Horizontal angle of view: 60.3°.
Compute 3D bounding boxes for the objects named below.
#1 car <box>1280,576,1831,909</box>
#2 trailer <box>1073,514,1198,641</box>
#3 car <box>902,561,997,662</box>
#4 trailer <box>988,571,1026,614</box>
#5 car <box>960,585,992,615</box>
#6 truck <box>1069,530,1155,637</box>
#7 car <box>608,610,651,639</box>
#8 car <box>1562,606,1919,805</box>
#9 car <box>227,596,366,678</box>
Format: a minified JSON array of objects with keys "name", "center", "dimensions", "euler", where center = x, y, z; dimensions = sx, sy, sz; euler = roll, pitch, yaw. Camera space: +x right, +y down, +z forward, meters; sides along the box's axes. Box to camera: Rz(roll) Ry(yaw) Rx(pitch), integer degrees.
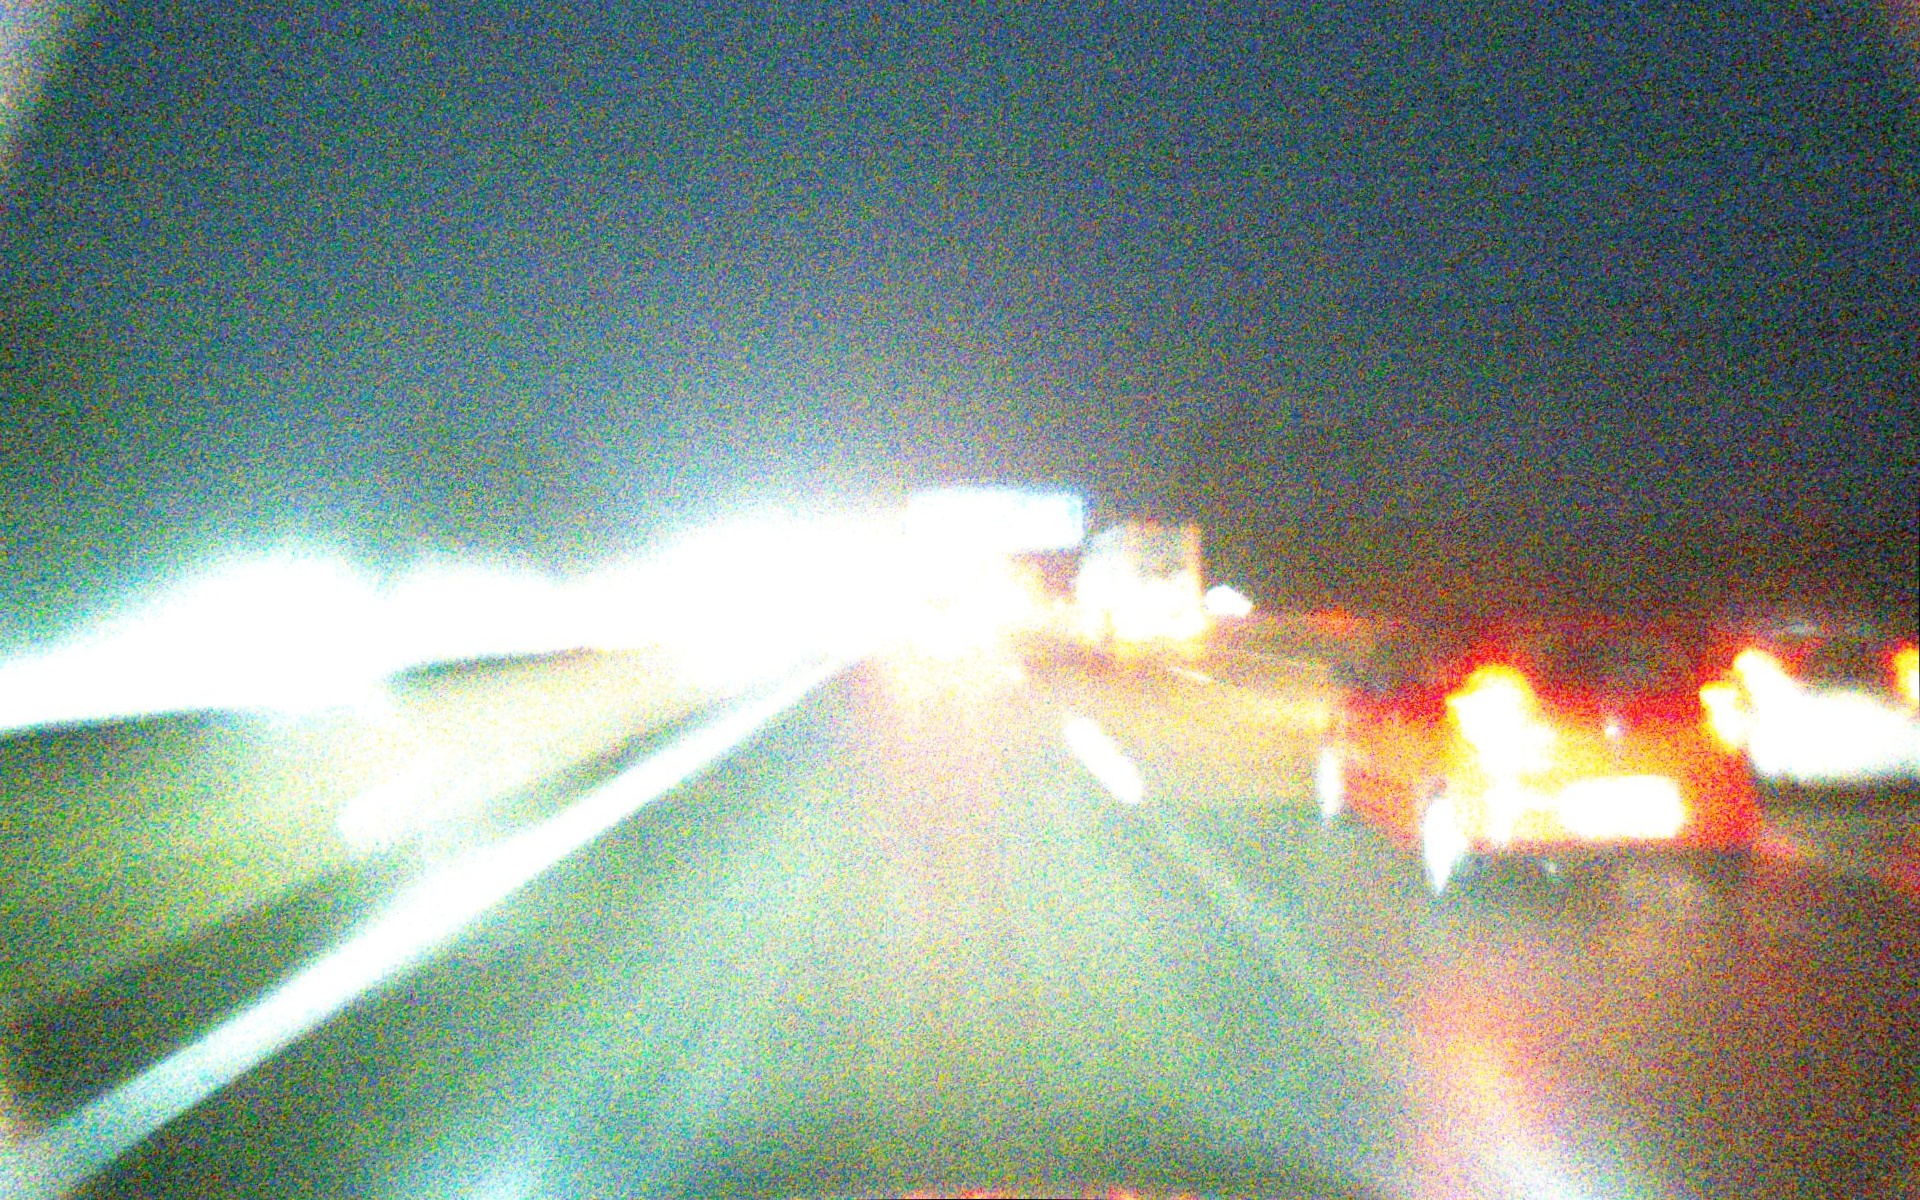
[{"name":"car","center":[3.312,0.720,10.228],"dimensions":[1.705,1.603,4.492],"euler":[0,-1,-1]},{"name":"trailer","center":[6.337,-0.690,62.299],"dimensions":[2.844,4.180,14.483],"euler":[-1,0,-1]},{"name":"car","center":[-0.252,0.258,36.469],"dimensions":[1.953,2.049,3.999],"euler":[1,-1,-1]},{"name":"trailer","center":[4.852,-0.696,173.794],"dimensions":[2.980,4.181,13.820],"euler":[-2,-1,-2]},{"name":"car","center":[1.133,-0.013,120.665],"dimensions":[1.954,2.049,3.996],"euler":[-2,-1,-4]},{"name":"truck","center":[6.231,-0.621,68.567],"dimensions":[2.844,4.180,6.029],"euler":[-1,-1,-1]},{"name":"car","center":[-21.042,1.552,105.457],"dimensions":[1.953,1.744,4.245],"euler":[-1,0,-1]},{"name":"car","center":[7.047,0.831,14.971],"dimensions":[1.606,1.529,4.011],"euler":[0,0,-2]},{"name":"car","center":[-17.513,0.941,43.909],"dimensions":[1.953,2.049,4.390],"euler":[-1,0,-1]}]
